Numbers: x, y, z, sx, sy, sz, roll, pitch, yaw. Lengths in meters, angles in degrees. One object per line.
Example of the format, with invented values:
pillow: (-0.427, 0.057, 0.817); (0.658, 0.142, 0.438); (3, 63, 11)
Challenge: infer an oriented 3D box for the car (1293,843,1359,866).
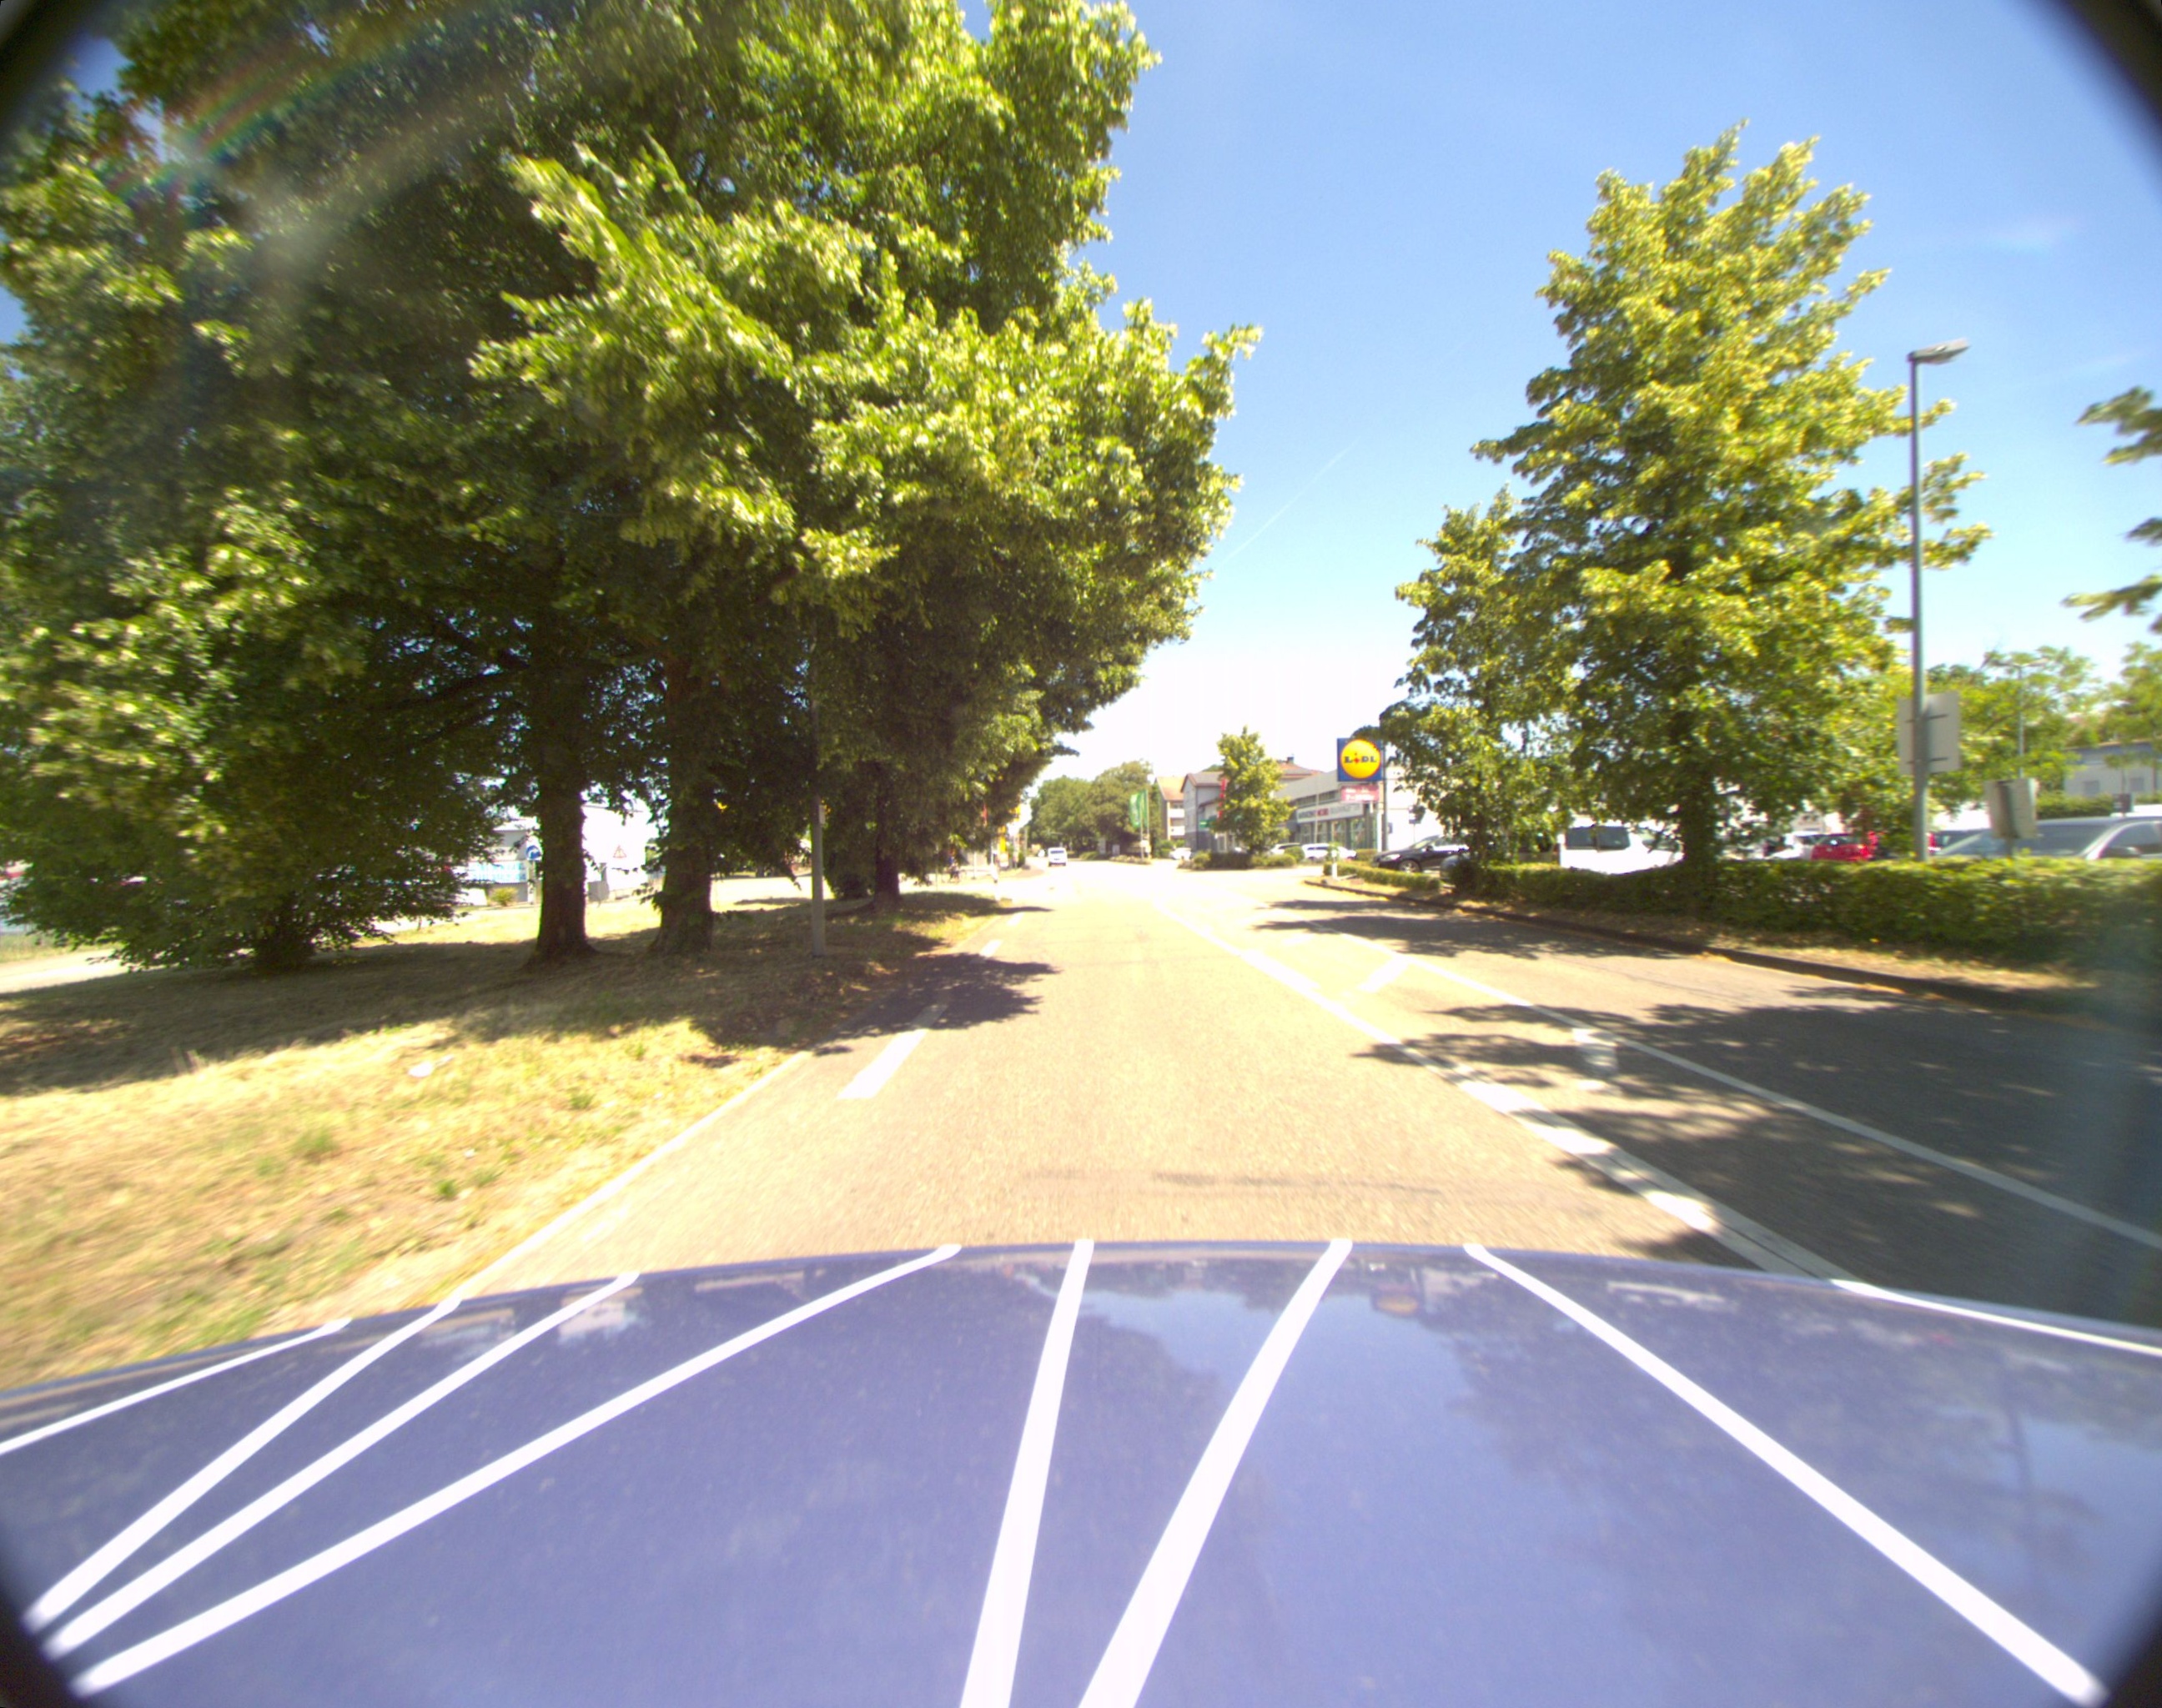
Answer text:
car: (17.335, 0.001, 53.964); (4.191, 1.438, 1.981); (-2, 1, 12)

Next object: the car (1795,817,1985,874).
car: (25.594, -0.278, 24.119); (4.324, 1.521, 1.826); (-3, 2, -4)

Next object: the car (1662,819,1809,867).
car: (25.133, -0.437, 29.246); (4.326, 1.597, 1.910); (-3, 2, -9)

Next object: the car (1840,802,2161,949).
car: (12.703, 0.192, 9.745); (4.039, 1.516, 1.933); (-4, 1, -2)

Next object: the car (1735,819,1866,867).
car: (44.002, -0.695, 46.726); (2.287, 2.612, 5.897); (-3, 1, -2)

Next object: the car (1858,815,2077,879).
car: (24.927, -0.211, 21.462); (4.324, 1.521, 1.826); (-3, 2, -4)

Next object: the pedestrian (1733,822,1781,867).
pedestrian: (23.195, -0.319, 26.089); (0.808, 1.475, 0.890); (-3, 2, -5)

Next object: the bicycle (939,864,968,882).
bicycle: (-7.244, 1.089, 43.262); (1.601, 0.907, 0.378); (-3, 1, -40)

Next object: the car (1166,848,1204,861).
car: (13.078, 0.063, 95.634); (4.360, 1.431, 1.936); (-3, 1, -27)

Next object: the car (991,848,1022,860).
car: (-10.309, -0.033, 105.742); (4.237, 1.526, 1.957); (-1, 0, -6)

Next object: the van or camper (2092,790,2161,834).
van or camper: (49.873, -1.974, 34.869); (4.373, 1.926, 2.009); (-3, 2, -2)

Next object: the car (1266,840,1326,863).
car: (17.422, -0.237, 61.769); (4.537, 1.654, 2.002); (-2, 1, 14)

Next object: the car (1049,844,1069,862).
car: (-2.433, -0.115, 83.487); (1.797, 1.904, 3.637); (-2, 1, -7)

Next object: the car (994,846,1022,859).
car: (-11.527, -0.217, 119.162); (4.148, 1.927, 1.806); (-2, 1, -10)

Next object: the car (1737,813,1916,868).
car: (25.887, -0.480, 26.495); (4.324, 1.646, 2.113); (-3, 2, -4)

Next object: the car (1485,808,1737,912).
car: (11.808, 0.101, 17.118); (4.368, 1.969, 1.904); (-3, 2, -3)

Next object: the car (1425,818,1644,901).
car: (11.662, 0.113, 19.832); (4.394, 1.835, 2.104); (-3, 2, 5)

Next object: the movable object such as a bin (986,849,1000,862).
movable object such as a bin: (-9.543, 0.161, 82.419); (1.438, 1.429, 1.467); (-1, 1, -4)

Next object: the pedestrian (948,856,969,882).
pedestrian: (-6.913, 0.827, 42.885); (0.869, 1.413, 0.769); (-4, 2, -39)

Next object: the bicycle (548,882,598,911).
bicycle: (-21.015, 1.747, 31.449); (1.697, 1.091, 0.468); (-3, 2, 1)

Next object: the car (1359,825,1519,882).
car: (12.789, -0.035, 27.380); (4.718, 1.752, 2.098); (-3, 2, 4)
